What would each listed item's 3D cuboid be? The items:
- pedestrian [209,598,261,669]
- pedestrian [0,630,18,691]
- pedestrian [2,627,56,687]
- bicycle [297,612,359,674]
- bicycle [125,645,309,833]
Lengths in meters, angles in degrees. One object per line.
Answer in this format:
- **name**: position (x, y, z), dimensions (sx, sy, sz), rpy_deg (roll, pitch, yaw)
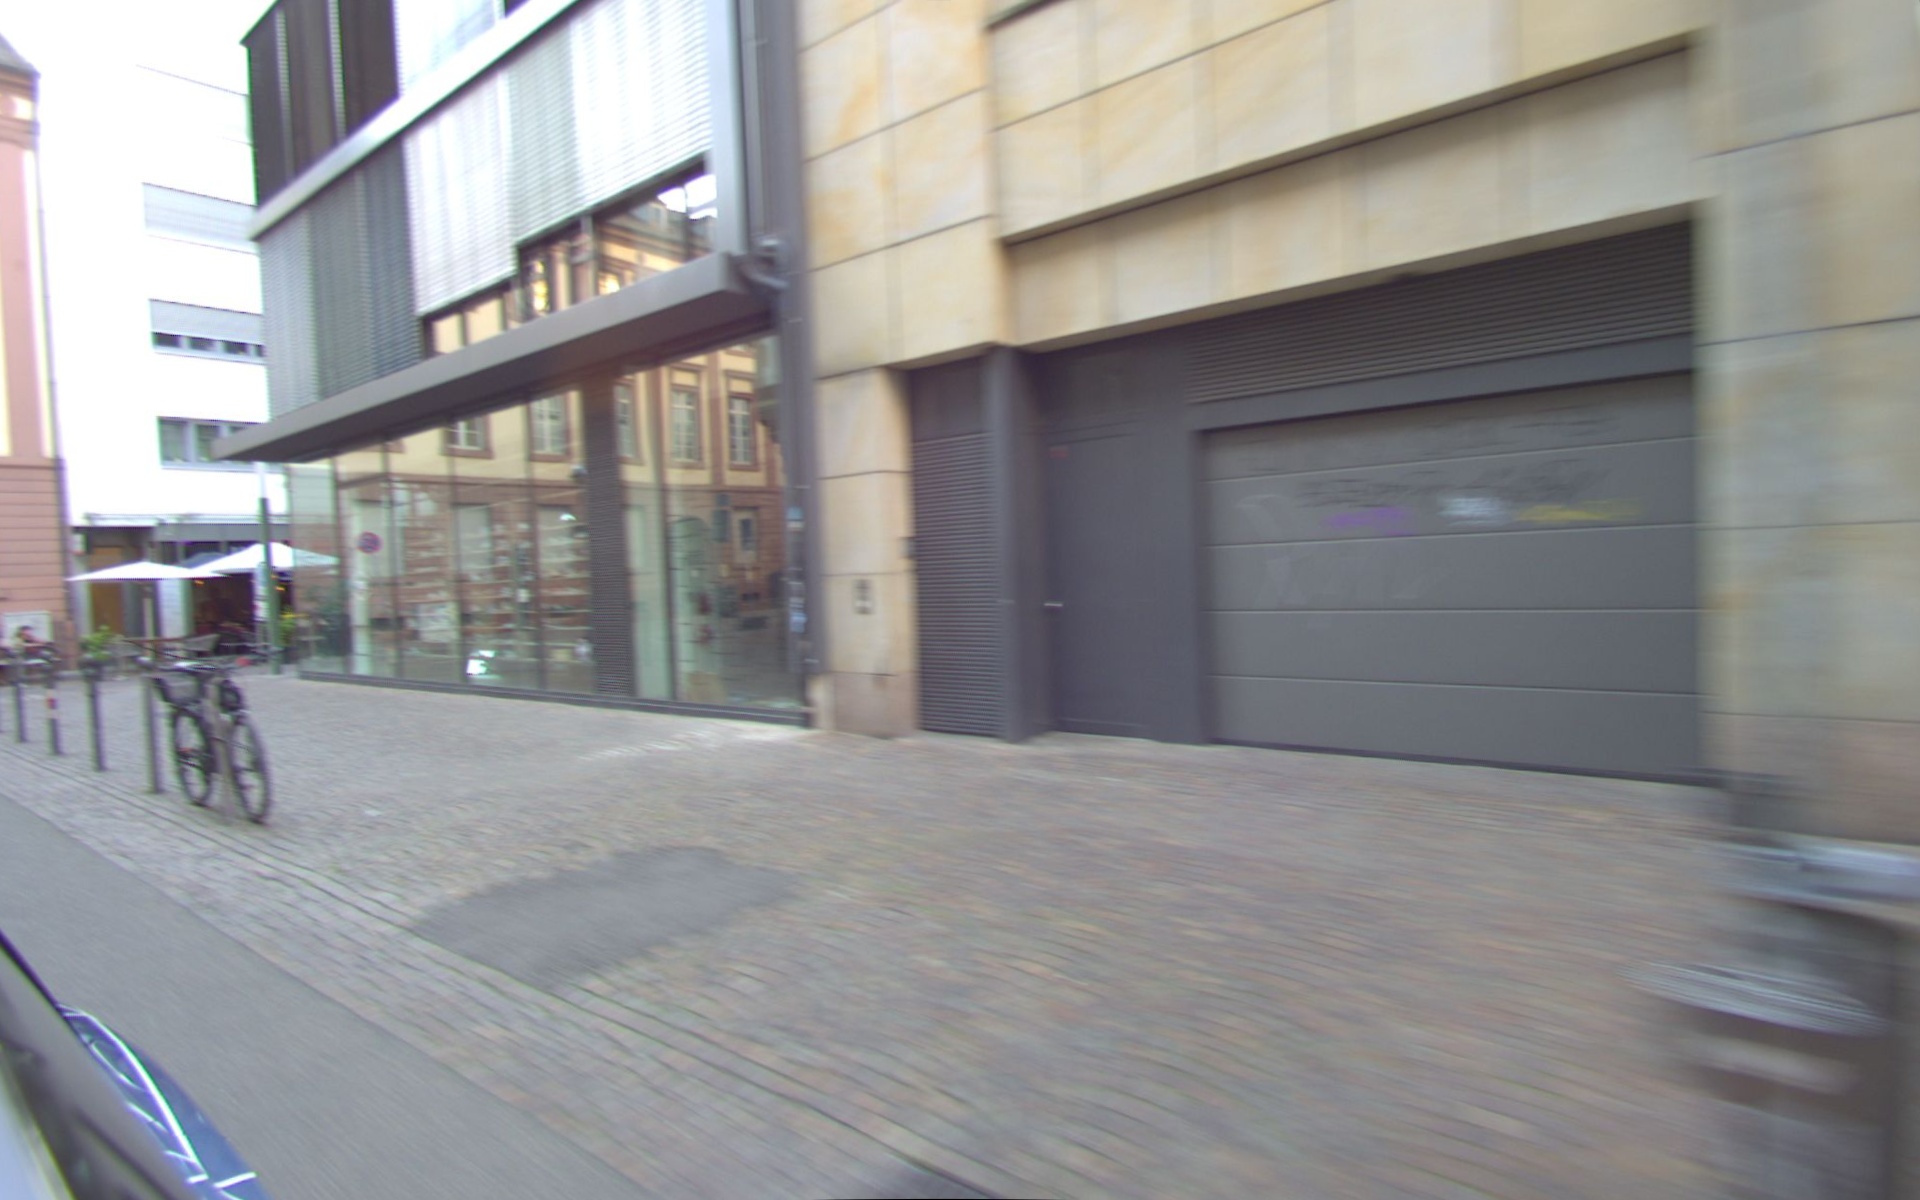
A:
- **pedestrian**: position (-17.597, 0.808, 24.562), dimensions (0.790, 1.661, 0.717), rpy_deg (-2, 2, 34)
- **pedestrian**: position (-19.491, 1.223, 20.300), dimensions (0.790, 1.192, 0.666), rpy_deg (0, 3, 34)
- **pedestrian**: position (-19.807, 1.197, 21.529), dimensions (0.791, 1.192, 0.665), rpy_deg (0, 3, 37)
- **bicycle**: position (-12.693, 0.874, 20.313), dimensions (1.701, 1.144, 0.461), rpy_deg (-4, 0, 39)
- **bicycle**: position (-5.216, 0.903, 7.054), dimensions (1.927, 1.141, 0.407), rpy_deg (-2, 2, 36)
